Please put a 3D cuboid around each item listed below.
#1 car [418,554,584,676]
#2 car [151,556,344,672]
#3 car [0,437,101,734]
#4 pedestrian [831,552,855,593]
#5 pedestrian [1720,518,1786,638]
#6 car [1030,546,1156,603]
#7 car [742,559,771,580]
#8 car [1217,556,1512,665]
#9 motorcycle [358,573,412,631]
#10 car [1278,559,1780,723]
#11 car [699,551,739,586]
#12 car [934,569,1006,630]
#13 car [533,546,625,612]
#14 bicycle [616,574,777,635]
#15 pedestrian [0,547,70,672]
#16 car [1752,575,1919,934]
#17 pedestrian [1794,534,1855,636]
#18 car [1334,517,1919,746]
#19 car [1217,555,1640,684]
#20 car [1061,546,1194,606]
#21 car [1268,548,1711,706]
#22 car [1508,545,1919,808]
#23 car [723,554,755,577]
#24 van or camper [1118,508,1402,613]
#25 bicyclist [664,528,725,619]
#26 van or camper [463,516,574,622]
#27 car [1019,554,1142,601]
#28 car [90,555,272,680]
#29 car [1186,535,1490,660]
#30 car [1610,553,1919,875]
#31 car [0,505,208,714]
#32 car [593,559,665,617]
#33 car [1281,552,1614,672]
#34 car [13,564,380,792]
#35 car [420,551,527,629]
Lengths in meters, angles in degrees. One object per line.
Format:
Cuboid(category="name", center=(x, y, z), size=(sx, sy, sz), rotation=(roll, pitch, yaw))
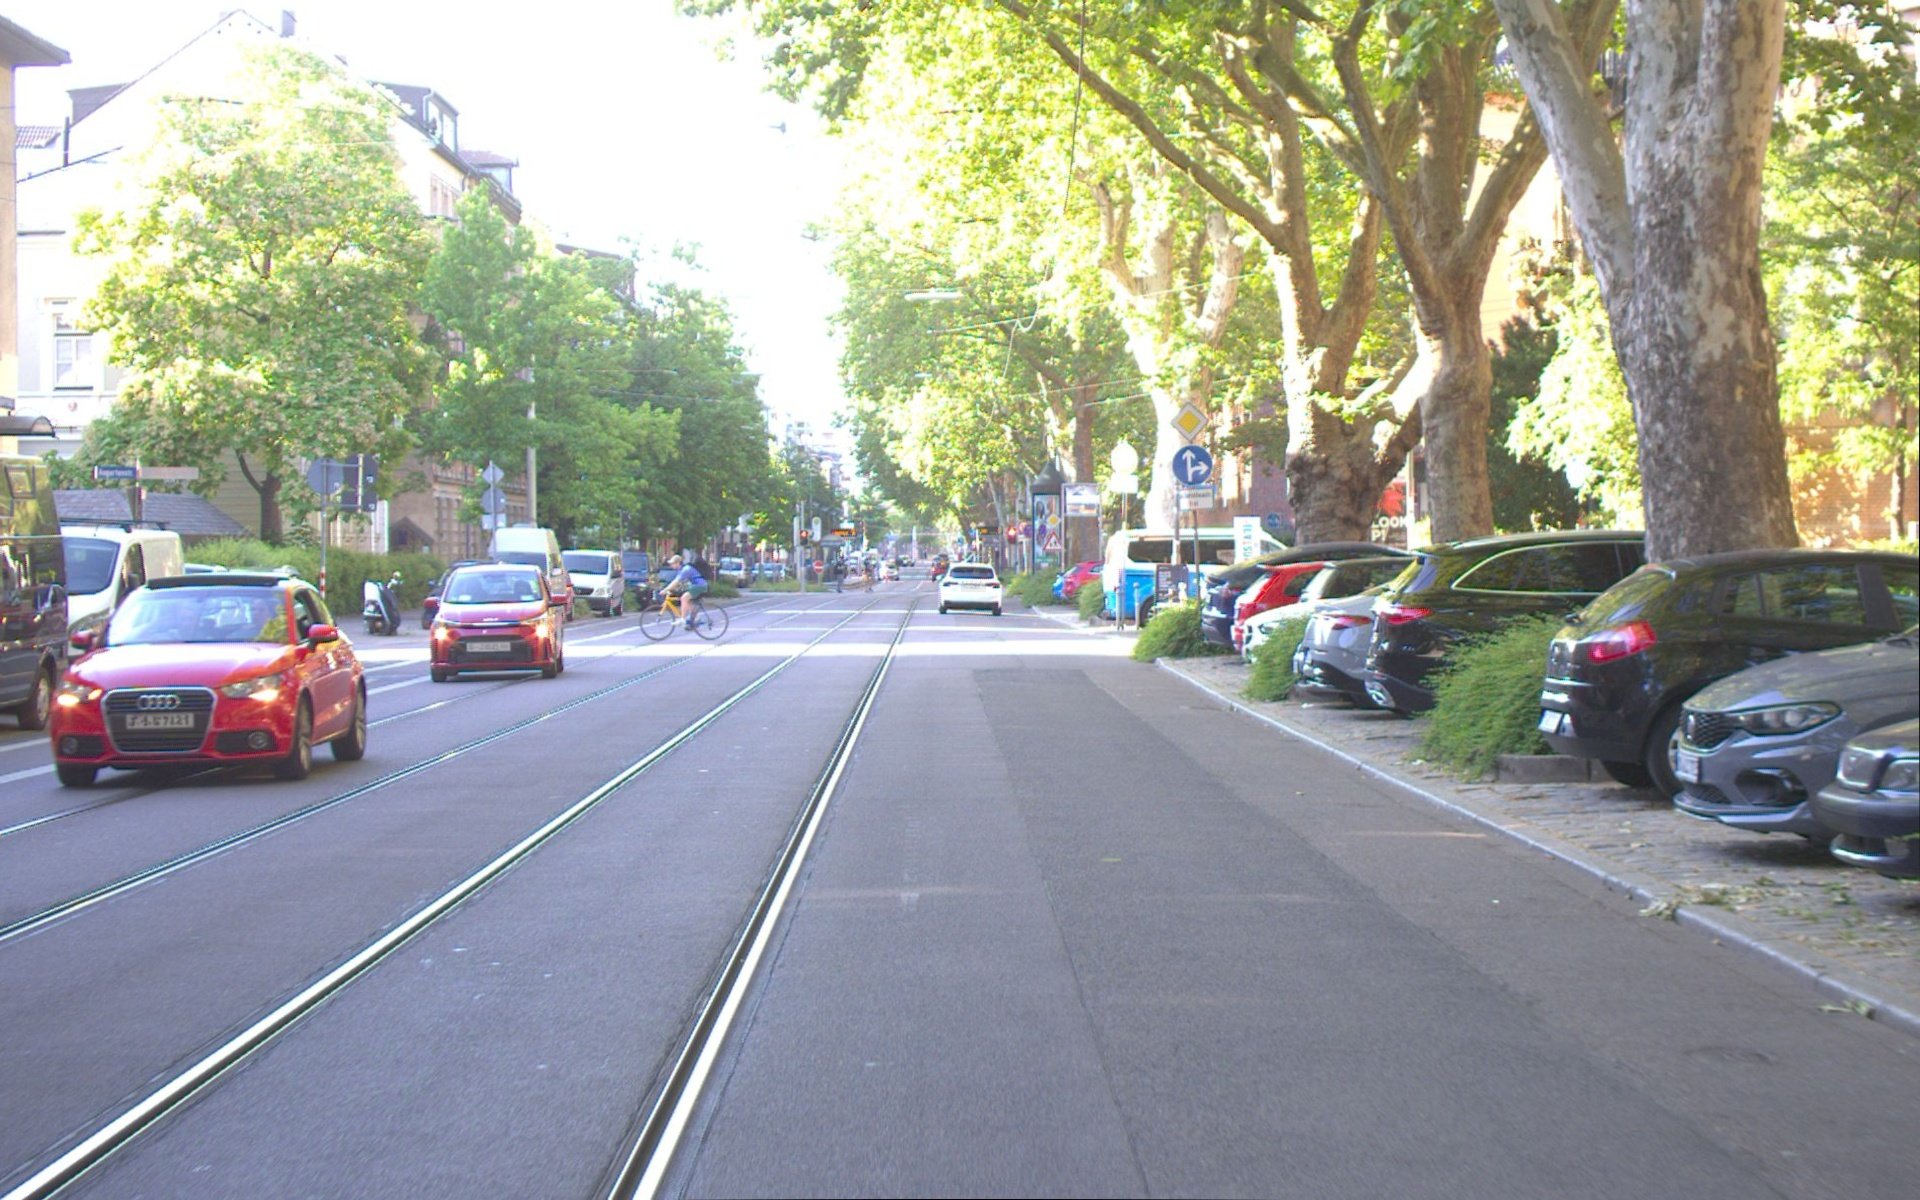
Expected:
Cuboid(category="car", center=(-5.980, 0.161, 45.144), size=(1.663, 1.474, 3.951), rotation=(-1, 1, -1))
Cuboid(category="car", center=(-10.082, 0.155, 48.998), size=(1.836, 1.463, 5.070), rotation=(3, 1, -2))
Cuboid(category="car", center=(-9.845, -0.185, 32.392), size=(2.086, 2.722, 5.310), rotation=(3, 1, 0))
Cuboid(category="pedestrian", center=(-5.698, -1.346, 167.911), size=(1.048, 2.007, 1.081), rotation=(0, 1, 3))
Cuboid(category="pedestrian", center=(11.567, -0.327, 50.183), size=(0.760, 1.733, 0.821), rotation=(-1, 1, 0))
Cuboid(category="car", center=(4.297, -0.838, 111.474), size=(3.987, 1.778, 2.000), rotation=(-1, 1, 0))
Cuboid(category="car", center=(-13.769, -2.097, 233.119), size=(1.918, 1.414, 3.591), rotation=(-1, 1, -3))
Cuboid(category="car", center=(5.272, 0.119, 45.151), size=(3.650, 1.373, 1.890), rotation=(0, 1, 0))
Cuboid(category="motorcycle", center=(-12.042, 0.032, 72.049), size=(0.763, 1.103, 2.330), rotation=(0, 3, 0))
Cuboid(category="car", center=(5.211, 0.359, 31.892), size=(4.295, 1.434, 1.948), rotation=(0, 1, -1))
Cuboid(category="car", center=(-12.510, -1.619, 178.768), size=(1.918, 1.414, 3.720), rotation=(-2, -5, -3))
Cuboid(category="car", center=(0.255, -0.035, 95.752), size=(1.918, 1.579, 3.791), rotation=(-2, 1, -1))
Cuboid(category="car", center=(-11.058, -0.639, 100.068), size=(2.173, 1.854, 4.659), rotation=(-1, 1, 0))
Cuboid(category="bicycle", center=(-4.997, 0.075, 65.009), size=(2.947, 1.101, 1.052), rotation=(-1, 1, -9))
Cuboid(category="pedestrian", center=(-11.939, 0.112, 44.082), size=(0.787, 1.587, 0.941), rotation=(-1, 1, 0))
Cuboid(category="car", center=(5.602, 0.579, 13.991), size=(4.397, 1.376, 1.804), rotation=(0, 0, 4))
Cuboid(category="pedestrian", center=(12.404, -0.221, 49.354), size=(0.661, 1.450, 0.821), rotation=(-1, 1, 0))
Cuboid(category="car", center=(5.315, 0.232, 27.412), size=(4.497, 1.596, 2.027), rotation=(-2, 1, 4))
Cuboid(category="car", center=(5.435, 0.207, 40.283), size=(4.686, 1.441, 1.892), rotation=(0, 1, 0))
Cuboid(category="car", center=(5.153, -0.740, 105.926), size=(3.987, 1.778, 2.000), rotation=(-1, 1, 0))
Cuboid(category="car", center=(5.235, 0.251, 34.355), size=(4.142, 1.504, 1.796), rotation=(0, 1, 0))
Cuboid(category="car", center=(5.358, 0.422, 20.675), size=(3.838, 1.504, 1.711), rotation=(0, 1, 0))
Cuboid(category="car", center=(-13.554, -2.136, 211.022), size=(1.918, 1.414, 3.591), rotation=(-1, 1, -3))
Cuboid(category="van or camper", center=(6.185, -0.839, 71.276), size=(5.554, 2.006, 2.245), rotation=(-1, 3, -5))
Cuboid(category="bicyclist", center=(-5.031, -0.509, 65.001), size=(1.045, 1.700, 1.058), rotation=(-1, 1, -10))
Cuboid(category="van or camper", center=(-10.915, -0.783, 85.387), size=(2.079, 2.524, 5.318), rotation=(-1, 1, 0))
Cuboid(category="car", center=(3.969, -0.746, 113.783), size=(3.987, 1.515, 2.000), rotation=(-1, 1, 0))
Cuboid(category="car", center=(-10.050, 0.203, 44.522), size=(1.572, 1.521, 3.040), rotation=(1, 1, 2))
Cuboid(category="car", center=(5.168, -0.051, 47.373), size=(3.923, 1.664, 1.961), rotation=(0, 1, -2))
Cuboid(category="car", center=(5.501, 0.506, 16.872), size=(4.247, 1.478, 1.898), rotation=(0, 1, 0))
Cuboid(category="car", center=(-9.906, 0.027, 38.453), size=(1.952, 2.084, 5.249), rotation=(3, 1, -2))
Cuboid(category="car", center=(-11.012, -0.415, 114.486), size=(1.993, 1.854, 4.179), rotation=(-1, 1, 0))
Cuboid(category="car", center=(6.015, 0.130, 42.735), size=(3.882, 1.430, 1.754), rotation=(0, 1, 0))
Cuboid(category="car", center=(-5.350, 0.492, 24.595), size=(1.723, 1.432, 4.069), rotation=(-2, 1, -1))
Cuboid(category="car", center=(-10.742, -0.238, 76.158), size=(1.787, 1.581, 4.344), rotation=(2, 1, -1))
